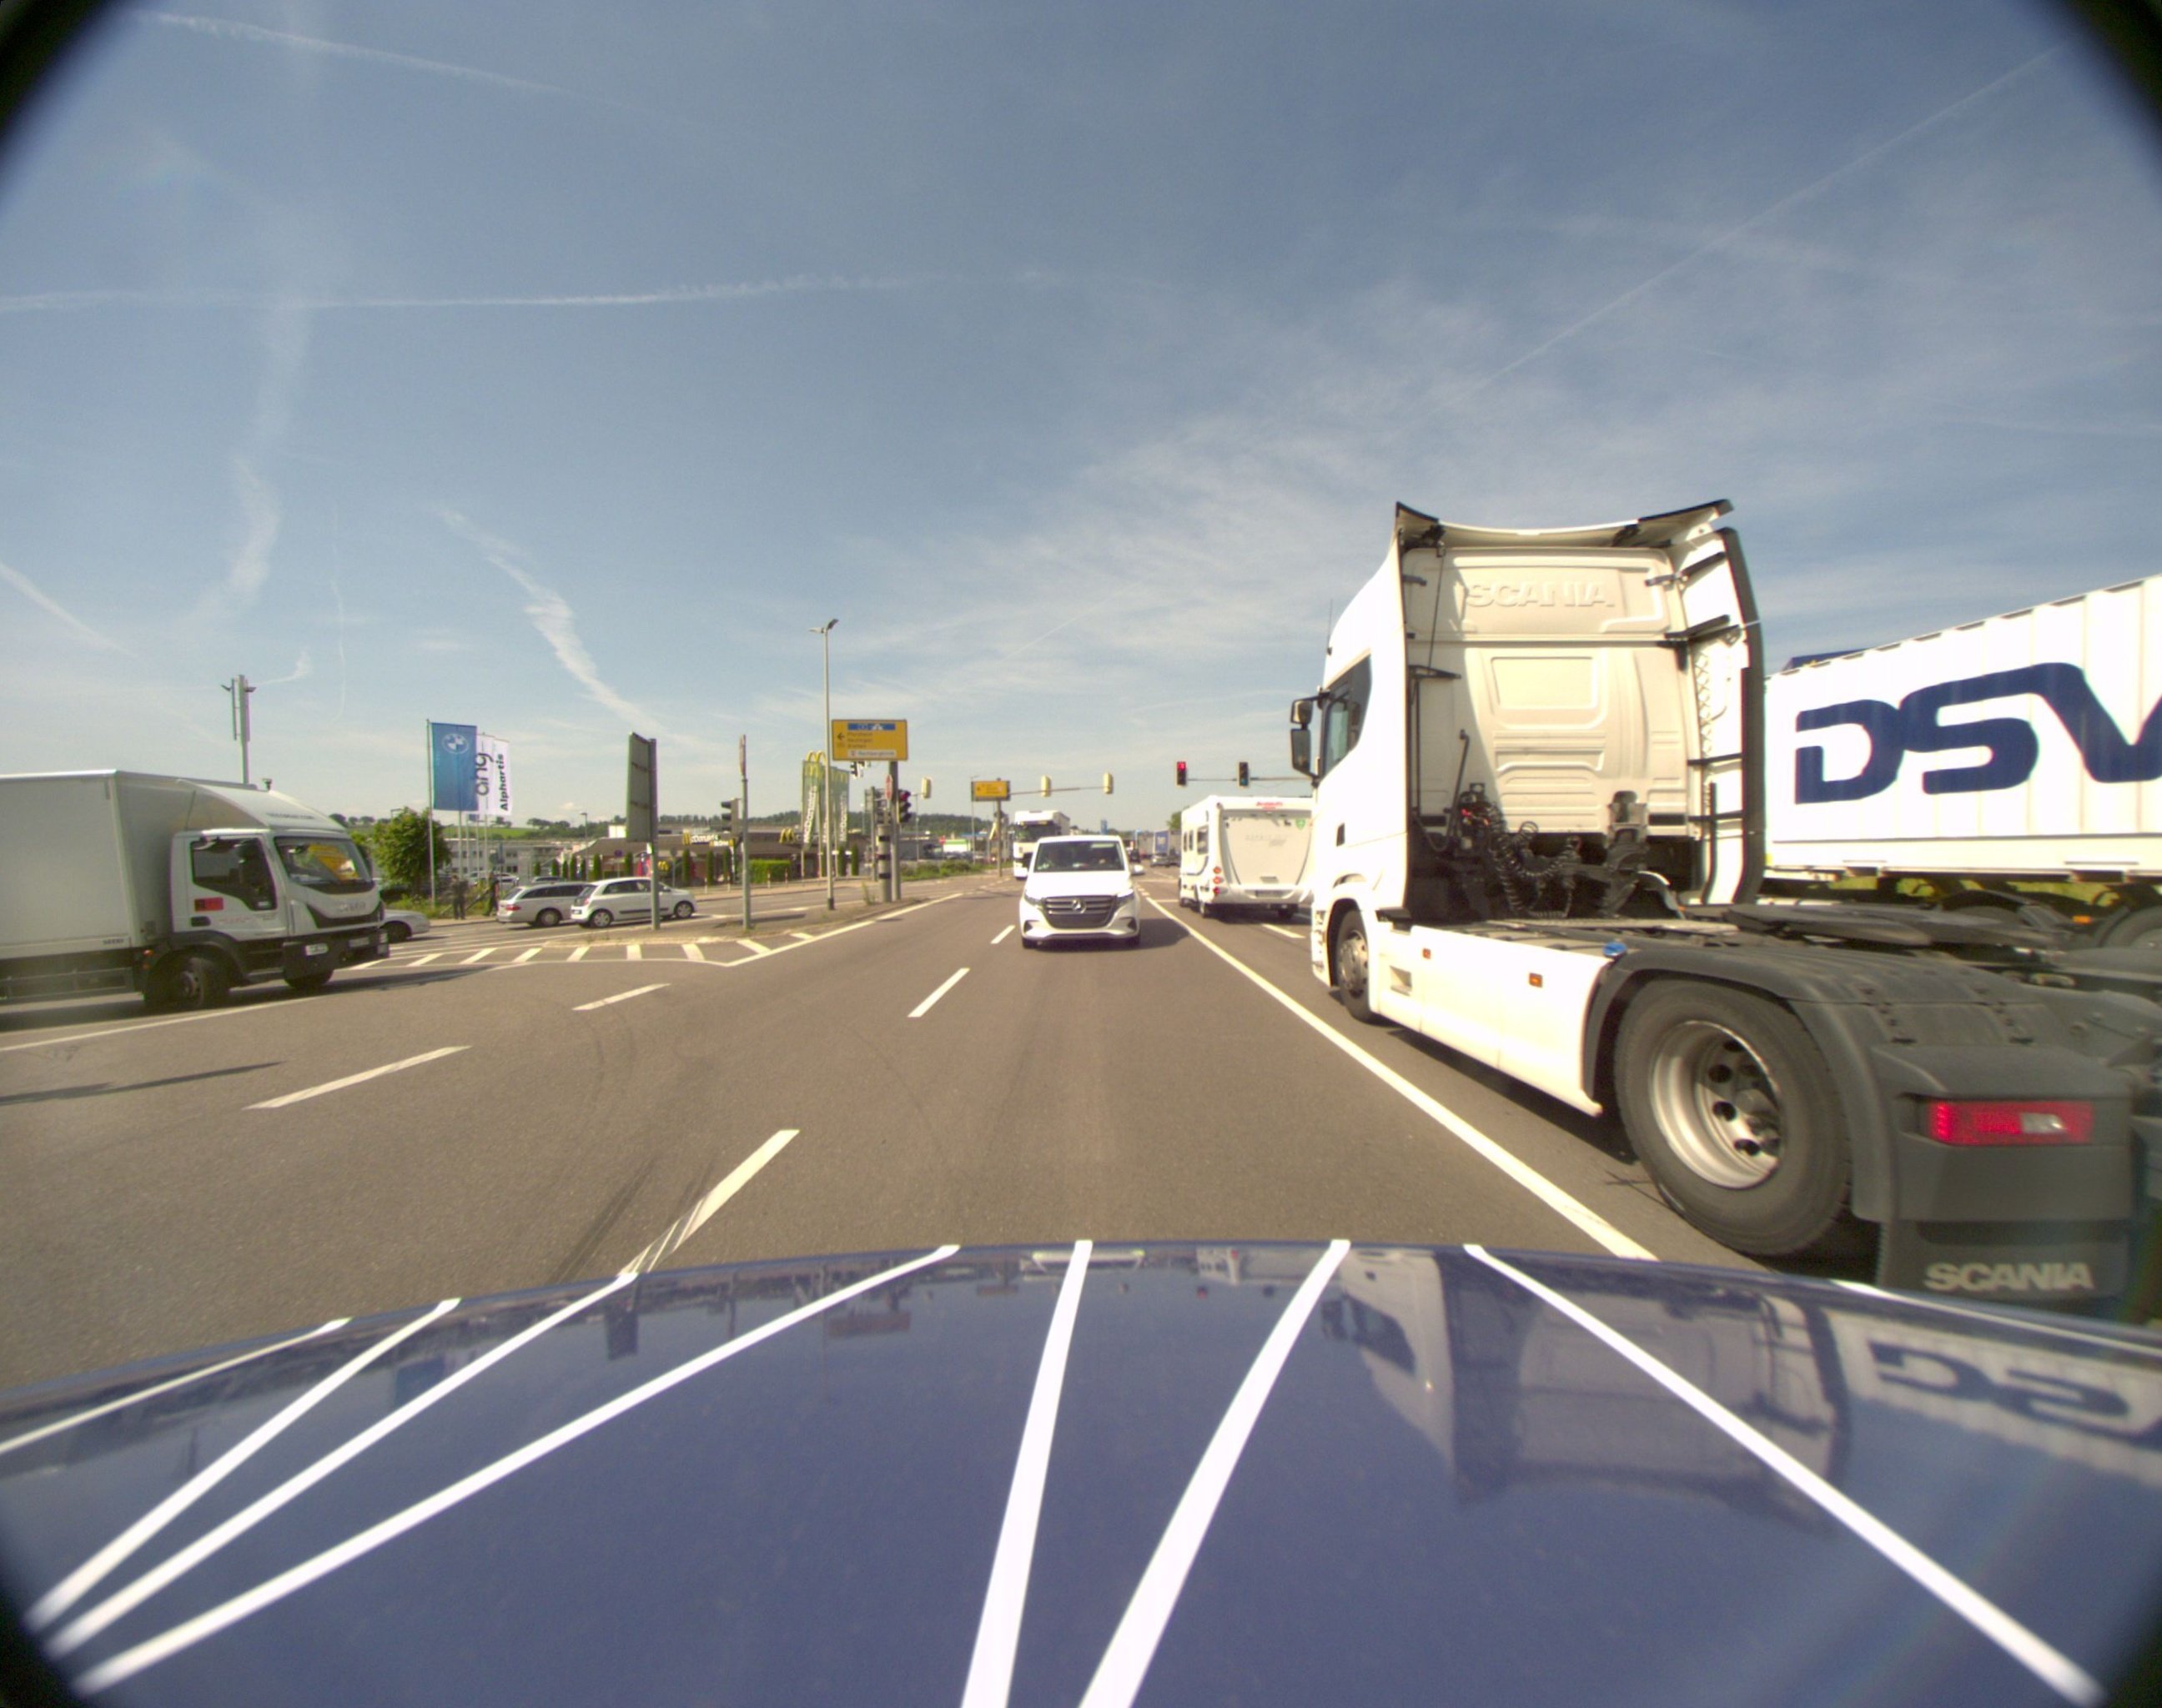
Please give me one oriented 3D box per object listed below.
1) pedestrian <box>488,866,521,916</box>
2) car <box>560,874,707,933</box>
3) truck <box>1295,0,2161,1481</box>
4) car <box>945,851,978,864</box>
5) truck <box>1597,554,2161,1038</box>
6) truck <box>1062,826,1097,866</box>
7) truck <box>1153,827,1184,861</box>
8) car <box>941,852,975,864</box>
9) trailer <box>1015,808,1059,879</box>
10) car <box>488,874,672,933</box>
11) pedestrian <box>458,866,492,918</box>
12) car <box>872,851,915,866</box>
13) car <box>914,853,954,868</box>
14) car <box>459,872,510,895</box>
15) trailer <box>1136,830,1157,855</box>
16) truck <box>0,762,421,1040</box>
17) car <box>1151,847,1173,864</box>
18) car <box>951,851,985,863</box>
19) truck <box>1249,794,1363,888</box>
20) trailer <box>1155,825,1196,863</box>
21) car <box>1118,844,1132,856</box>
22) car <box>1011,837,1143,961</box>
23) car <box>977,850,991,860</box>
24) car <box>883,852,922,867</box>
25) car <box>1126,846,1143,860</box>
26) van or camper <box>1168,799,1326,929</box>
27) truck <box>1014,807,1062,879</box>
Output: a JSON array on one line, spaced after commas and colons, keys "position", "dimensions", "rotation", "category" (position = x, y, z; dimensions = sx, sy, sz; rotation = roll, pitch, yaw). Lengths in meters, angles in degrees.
[{"position": [-23.711, 1.493, 31.232], "dimensions": [0.662, 2.002, 0.880], "rotation": [0, 2, 38], "category": "pedestrian"}, {"position": [-14.774, 1.572, 25.216], "dimensions": [1.706, 1.496, 3.762], "rotation": [-1, 2, 41], "category": "car"}, {"position": [3.592, -0.533, 4.960], "dimensions": [2.543, 4.064, 6.264], "rotation": [0, 1, -1], "category": "truck"}, {"position": [-16.344, 0.450, 103.542], "dimensions": [4.007, 1.661, 1.916], "rotation": [0, 1, -34], "category": "car"}, {"position": [10.558, -0.513, 8.547], "dimensions": [2.837, 4.092, 9.680], "rotation": [0, 1, 0], "category": "truck"}, {"position": [-0.009, -0.857, 79.689], "dimensions": [2.646, 3.964, 9.242], "rotation": [0, 1, 6], "category": "truck"}, {"position": [10.834, -1.209, 94.830], "dimensions": [3.196, 4.056, 6.345], "rotation": [0, 1, 0], "category": "truck"}, {"position": [-15.476, 0.482, 95.688], "dimensions": [1.744, 1.483, 4.273], "rotation": [1, 1, 38], "category": "car"}, {"position": [-3.077, -0.702, 50.728], "dimensions": [2.615, 4.203, 11.285], "rotation": [0, 1, -5], "category": "trailer"}, {"position": [-17.622, 1.666, 26.932], "dimensions": [1.994, 1.497, 5.008], "rotation": [-2, 2, 42], "category": "car"}, {"position": [-24.312, 1.500, 30.486], "dimensions": [0.662, 2.002, 0.880], "rotation": [0, 2, 38], "category": "pedestrian"}, {"position": [-22.183, 0.532, 89.967], "dimensions": [1.907, 1.661, 4.828], "rotation": [1, 1, 38], "category": "car"}, {"position": [-16.540, 0.716, 85.806], "dimensions": [1.855, 1.567, 4.242], "rotation": [1, 1, 38], "category": "car"}, {"position": [-45.040, 2.194, 57.332], "dimensions": [4.436, 1.511, 2.004], "rotation": [1, 1, 38], "category": "car"}, {"position": [11.394, -1.963, 133.620], "dimensions": [2.698, 4.124, 13.878], "rotation": [0, 1, 1], "category": "trailer"}, {"position": [-16.621, 0.861, 11.319], "dimensions": [9.706, 3.608, 2.763], "rotation": [-5, 2, -16], "category": "truck"}, {"position": [7.691, 0.099, 72.507], "dimensions": [1.729, 1.493, 4.000], "rotation": [1, 1, 2], "category": "car"}, {"position": [-15.095, 0.400, 101.503], "dimensions": [4.031, 1.661, 1.772], "rotation": [0, 1, -28], "category": "car"}, {"position": [10.646, -0.608, 37.242], "dimensions": [2.736, 3.976, 9.618], "rotation": [0, 1, 0], "category": "truck"}, {"position": [10.759, -1.174, 88.128], "dimensions": [3.101, 4.056, 14.124], "rotation": [0, 1, 0], "category": "trailer"}, {"position": [6.832, -0.580, 118.324], "dimensions": [1.848, 1.722, 4.588], "rotation": [-2, 0, 0], "category": "car"}, {"position": [0.060, 0.636, 14.326], "dimensions": [1.993, 1.858, 5.803], "rotation": [0, 1, 2], "category": "car"}, {"position": [-16.776, 0.141, 131.170], "dimensions": [1.907, 1.645, 4.709], "rotation": [0, 1, -1], "category": "car"}, {"position": [-20.643, 0.560, 87.999], "dimensions": [1.771, 1.661, 4.179], "rotation": [1, 1, 38], "category": "car"}, {"position": [6.815, -0.110, 96.527], "dimensions": [1.998, 1.716, 4.000], "rotation": [0, 1, 2], "category": "car"}, {"position": [3.706, 0.155, 18.622], "dimensions": [2.336, 2.585, 6.977], "rotation": [0, 1, 0], "category": "van or camper"}, {"position": [-2.618, -0.631, 45.149], "dimensions": [2.648, 3.964, 6.038], "rotation": [0, 1, -4], "category": "truck"}]
